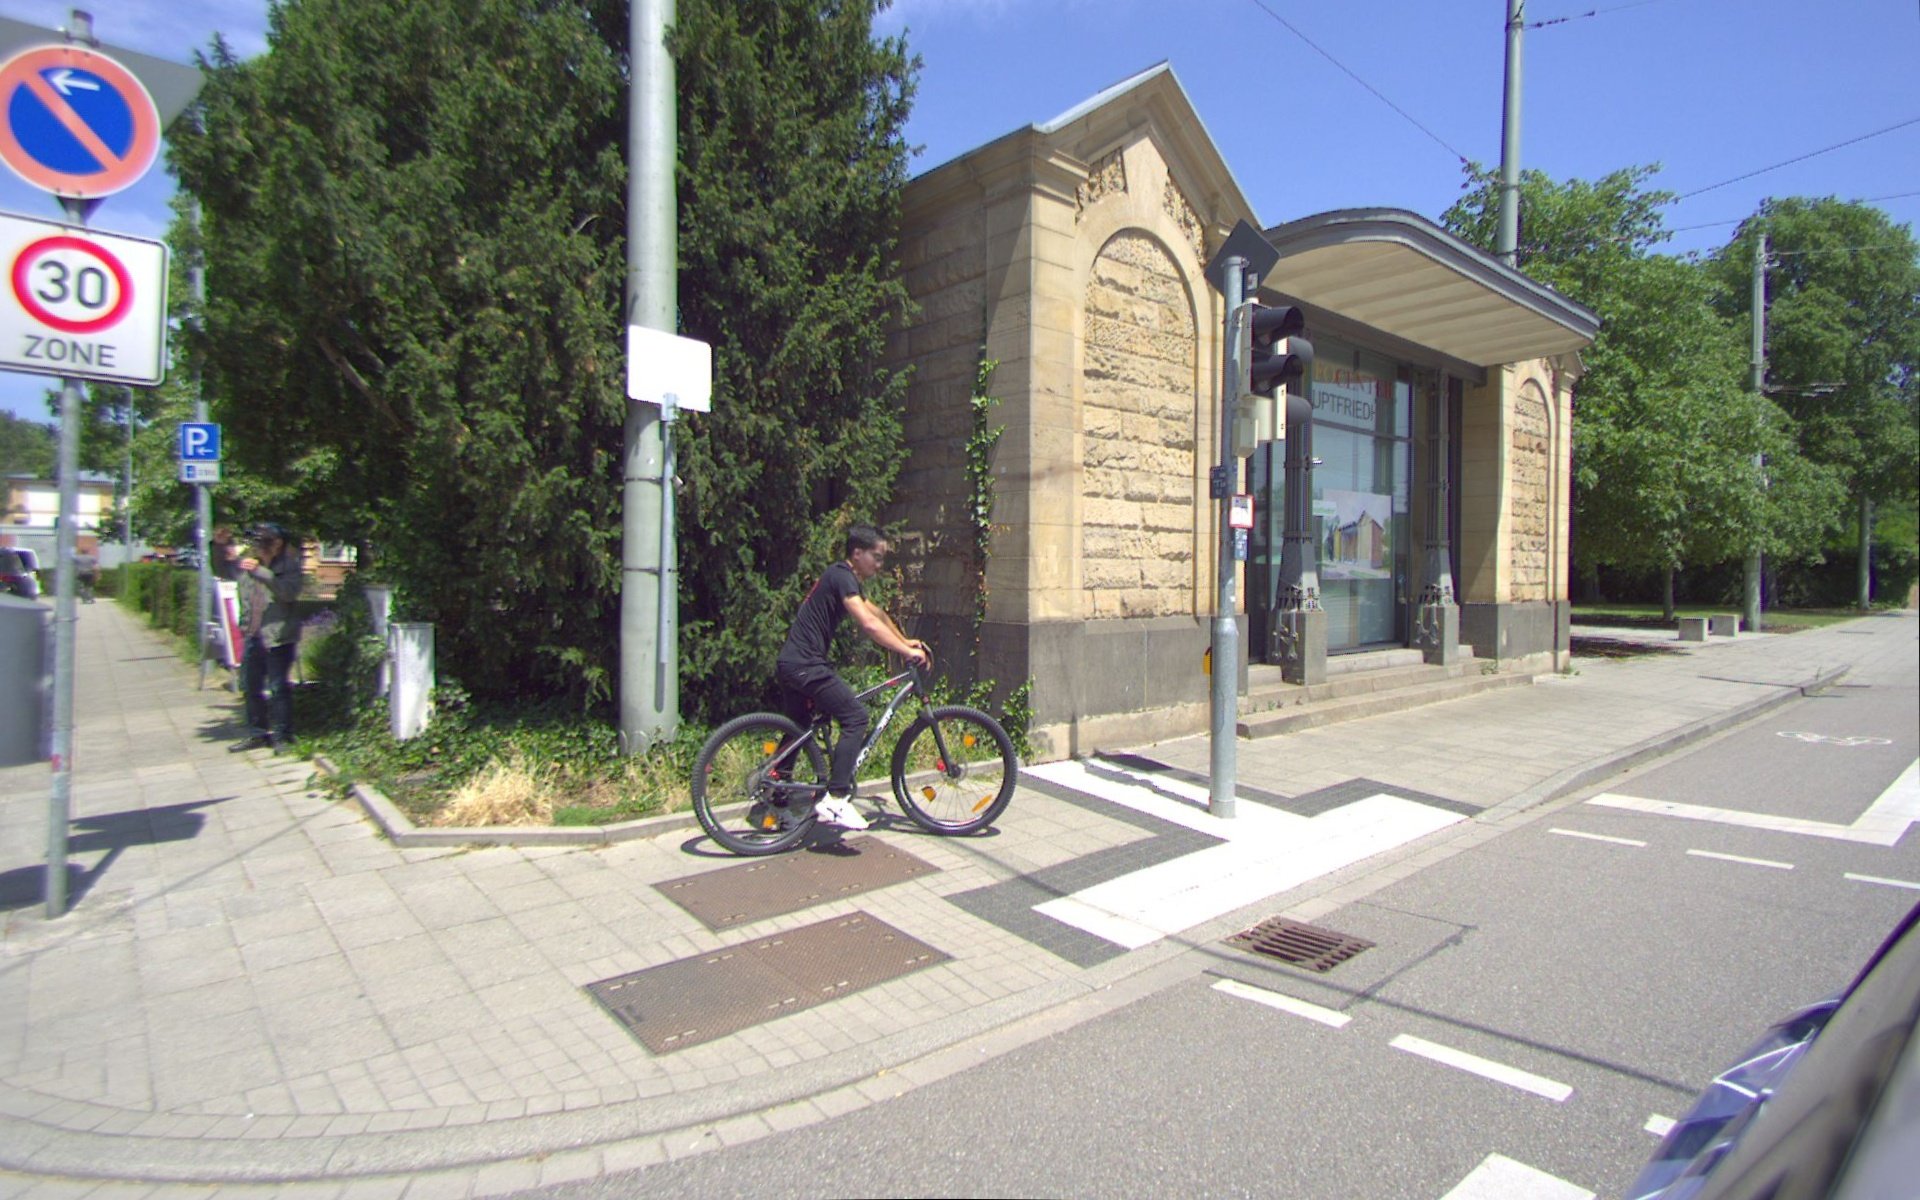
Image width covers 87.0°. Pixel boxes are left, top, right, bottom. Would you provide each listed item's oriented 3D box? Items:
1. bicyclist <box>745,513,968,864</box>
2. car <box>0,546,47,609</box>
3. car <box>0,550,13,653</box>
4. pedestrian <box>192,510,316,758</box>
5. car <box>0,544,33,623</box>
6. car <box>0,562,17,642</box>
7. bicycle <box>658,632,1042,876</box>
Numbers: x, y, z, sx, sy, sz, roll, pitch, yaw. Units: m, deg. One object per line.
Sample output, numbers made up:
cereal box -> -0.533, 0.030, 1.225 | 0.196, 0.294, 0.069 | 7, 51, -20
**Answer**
bicyclist -> -0.568, 0.400, 5.308 | 0.842, 1.637, 0.837 | 1, 5, -28
car -> -31.370, -0.736, 32.463 | 4.628, 1.923, 1.853 | 1, 2, 32
car -> -15.234, 0.023, 14.839 | 1.680, 1.582, 3.700 | 1, 1, -39
pedestrian -> -4.865, 0.205, 6.975 | 0.618, 1.610, 0.603 | -2, 2, -41
car -> -22.445, -0.410, 23.146 | 1.755, 1.719, 3.686 | -1, 3, -42
car -> -18.567, -0.012, 18.507 | 1.820, 1.371, 4.286 | -1, 3, -42
bicycle -> -0.554, 0.720, 5.270 | 1.825, 1.014, 0.672 | 1, 5, -28
